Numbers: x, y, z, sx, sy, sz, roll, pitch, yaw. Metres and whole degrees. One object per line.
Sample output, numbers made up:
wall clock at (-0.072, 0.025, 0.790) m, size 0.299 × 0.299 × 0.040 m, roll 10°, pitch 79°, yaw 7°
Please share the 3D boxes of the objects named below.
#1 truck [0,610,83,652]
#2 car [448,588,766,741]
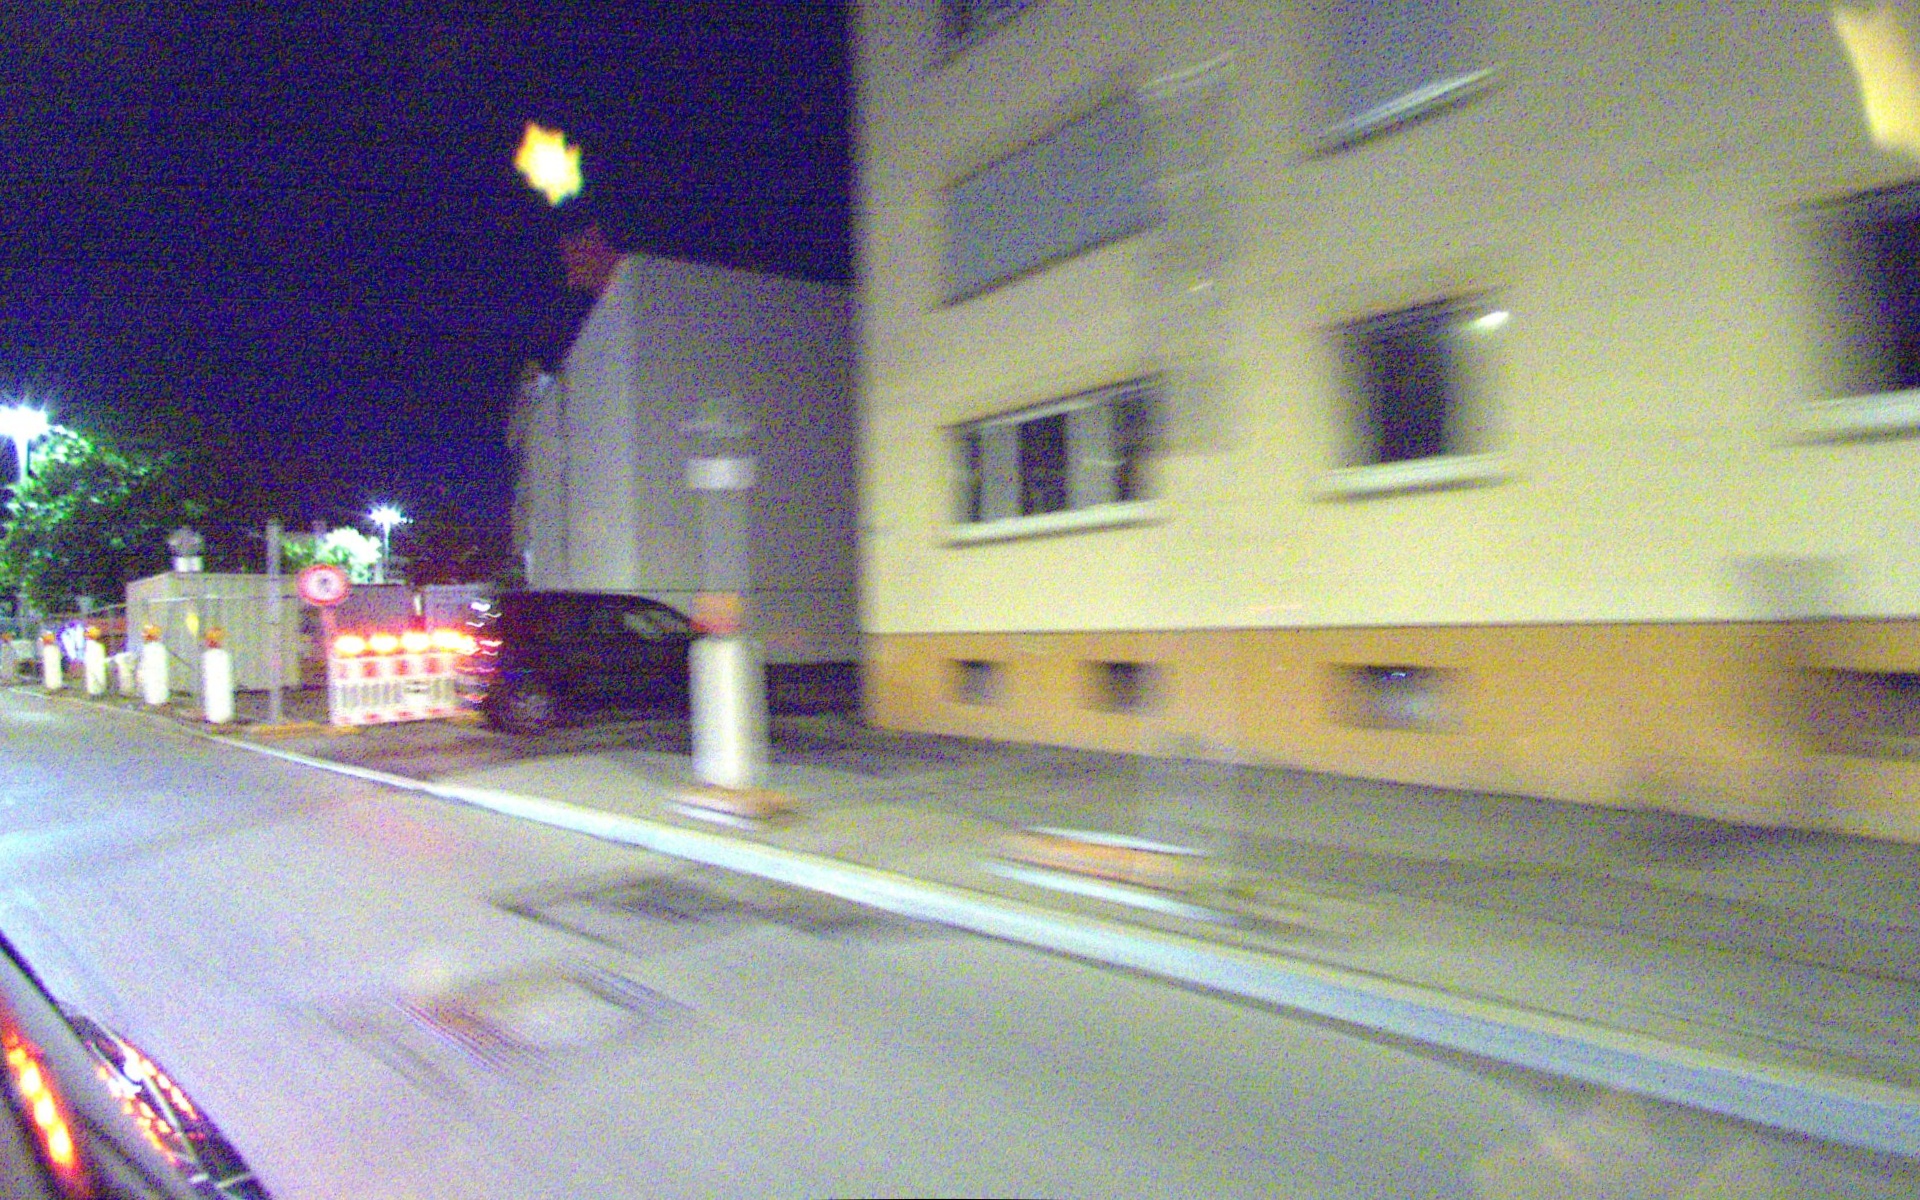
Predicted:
truck at (-83.677, 2.769, 91.810) m, size 6.105 × 3.722 × 2.407 m, roll 0°, pitch -1°, yaw -37°
car at (-5.015, 0.821, 14.554) m, size 3.934 × 1.903 × 1.913 m, roll 0°, pitch -1°, yaw -37°
